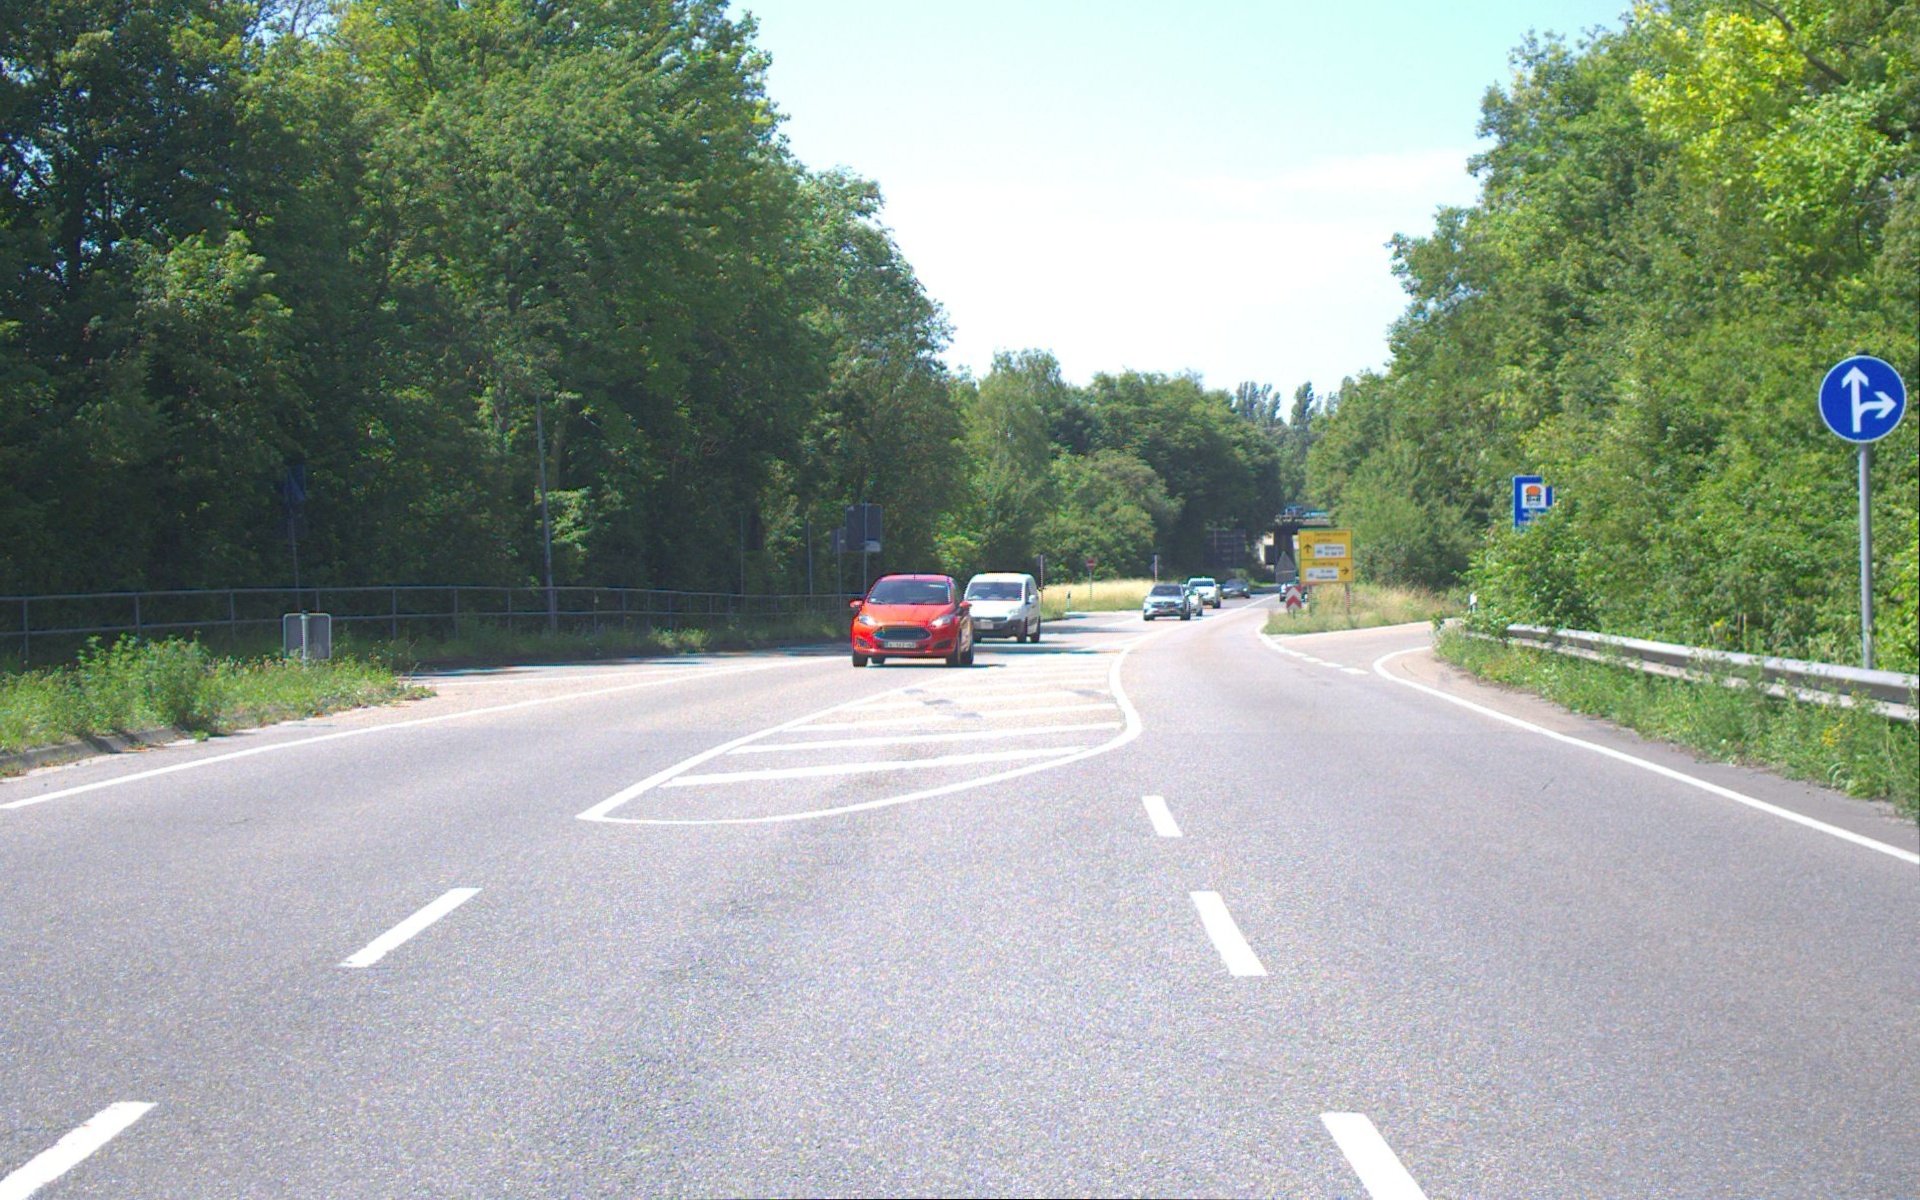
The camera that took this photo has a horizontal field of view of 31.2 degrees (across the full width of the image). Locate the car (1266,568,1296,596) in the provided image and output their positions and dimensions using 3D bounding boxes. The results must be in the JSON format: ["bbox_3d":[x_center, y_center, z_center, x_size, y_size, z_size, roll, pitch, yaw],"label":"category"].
[{"bbox_3d":[20.418,-1.161,218.804,1.843,1.679,4.000,0,1,4],"label":"car"}]

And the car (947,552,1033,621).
[{"bbox_3d":[0.809,-0.367,88.862,1.994,1.724,4.274,-1,1,3],"label":"car"}]

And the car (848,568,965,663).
[{"bbox_3d":[-0.846,0.217,54.893,1.810,1.453,3.758,0,1,-1],"label":"car"}]

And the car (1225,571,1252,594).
[{"bbox_3d":[18.905,-1.201,233.266,1.720,1.504,3.709,0,1,6],"label":"car"}]

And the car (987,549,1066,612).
[{"bbox_3d":[3.438,-1.015,178.328,1.993,3.215,4.809,-1,1,-28],"label":"car"}]

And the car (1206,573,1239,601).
[{"bbox_3d":[14.873,-0.735,194.796,1.720,1.523,3.709,0,1,6],"label":"car"}]

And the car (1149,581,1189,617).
[{"bbox_3d":[9.405,-0.067,154.413,1.677,1.522,3.999,0,1,5],"label":"car"}]

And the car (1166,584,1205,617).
[{"bbox_3d":[11.173,0.015,170.231,1.678,1.522,3.999,0,1,8],"label":"car"}]
